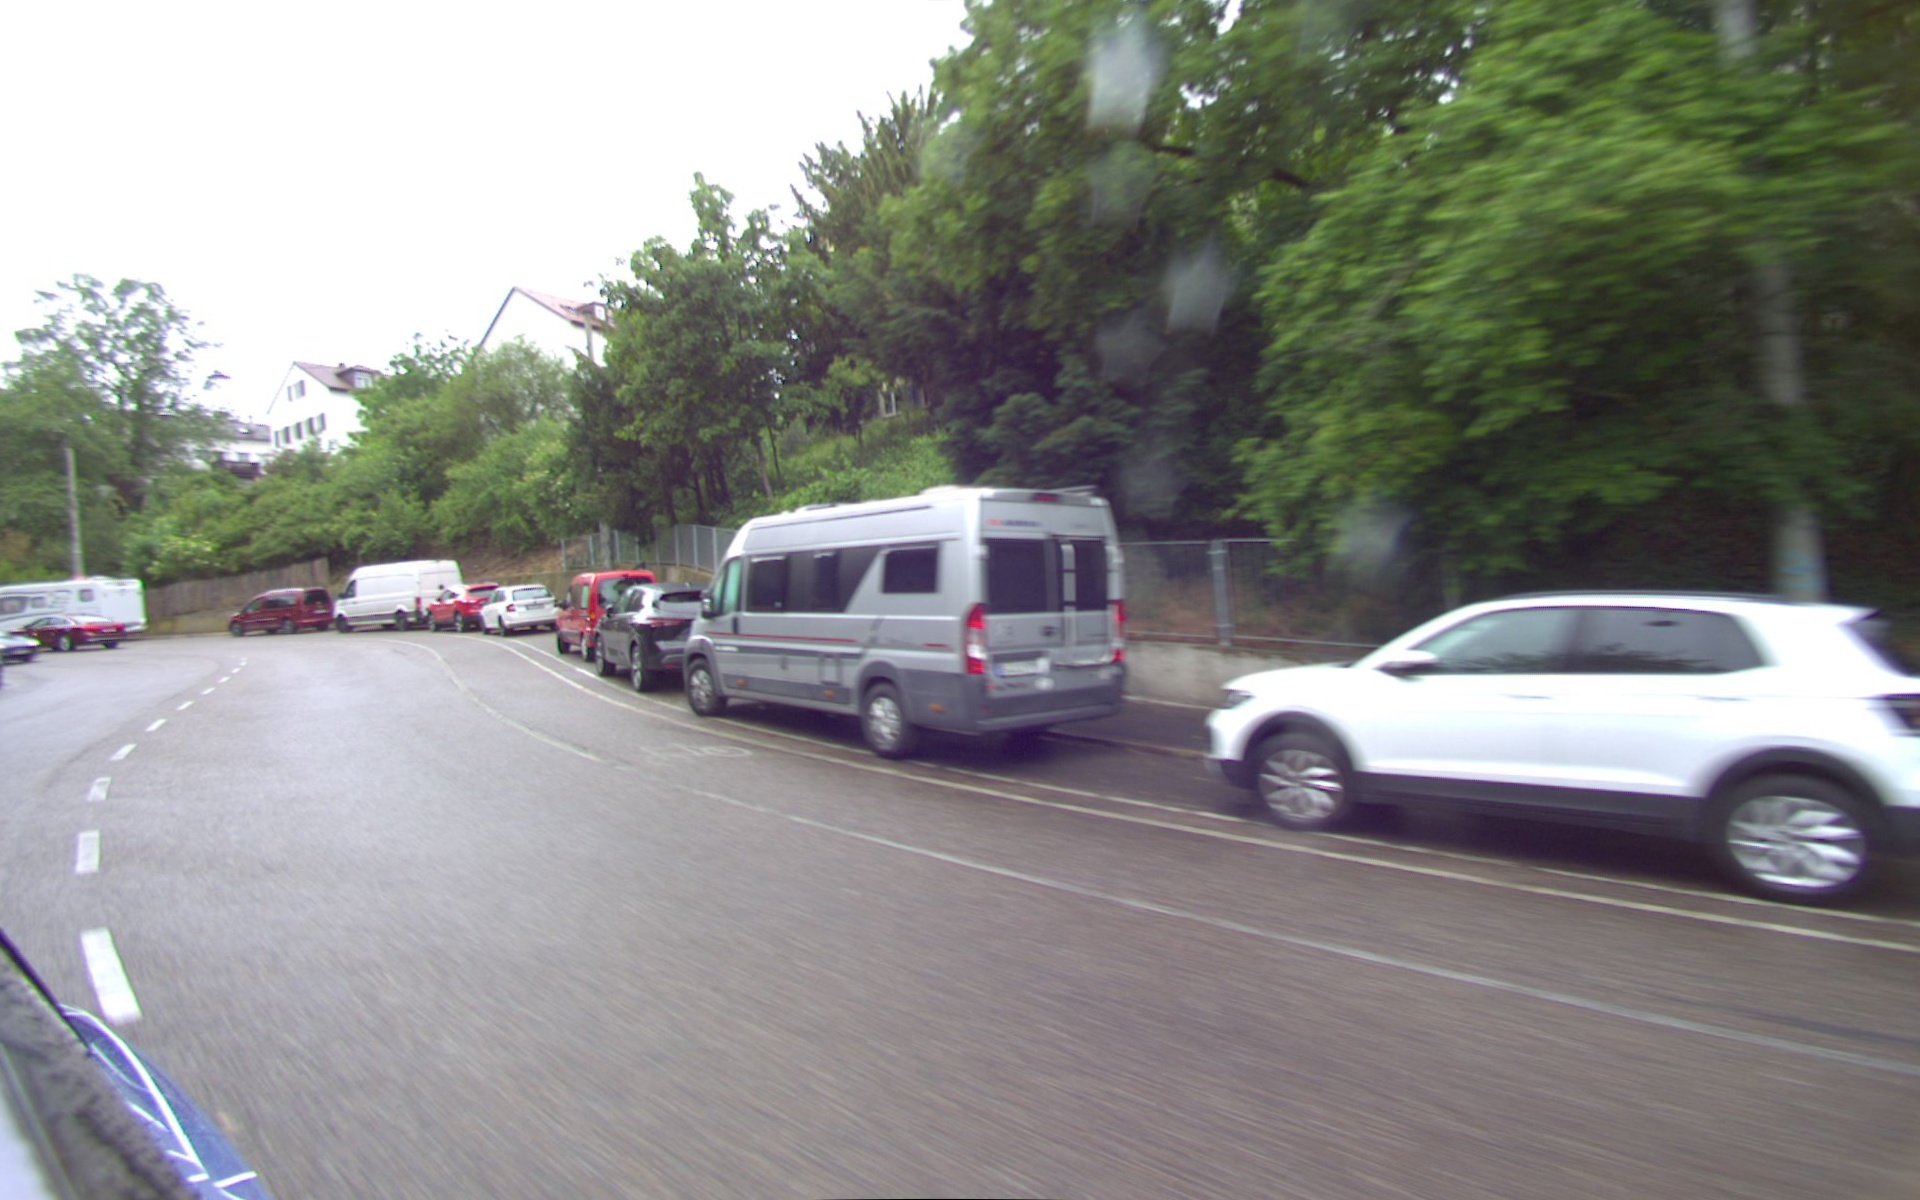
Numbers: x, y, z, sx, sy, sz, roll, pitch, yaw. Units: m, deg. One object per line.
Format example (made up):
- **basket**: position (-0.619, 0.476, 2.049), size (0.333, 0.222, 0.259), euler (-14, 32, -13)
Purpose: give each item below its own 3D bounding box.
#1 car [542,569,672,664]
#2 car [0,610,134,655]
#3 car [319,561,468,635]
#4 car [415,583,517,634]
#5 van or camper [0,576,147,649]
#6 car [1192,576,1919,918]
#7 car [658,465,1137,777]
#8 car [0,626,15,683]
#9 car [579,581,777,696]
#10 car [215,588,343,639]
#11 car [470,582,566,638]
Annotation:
- **car**: position (-7.741, 0.271, 21.946), size (1.726, 1.781, 4.149), euler (-4, 3, -32)
- **car**: position (-35.696, 1.287, 40.361), size (4.439, 1.527, 1.866), euler (-2, 3, 14)
- **car**: position (-22.430, -0.043, 39.945), size (6.802, 2.549, 2.019), euler (-2, 3, 33)
- **car**: position (-17.505, 0.317, 35.737), size (4.434, 1.597, 1.756), euler (-1, 3, 44)
- **van or camper**: position (-41.483, 0.586, 45.708), size (7.421, 2.989, 2.459), euler (-2, 2, 0)
- **car**: position (3.727, 0.684, 6.484), size (4.020, 1.595, 1.786), euler (0, 0, 39)
- **car**: position (-1.123, 0.094, 11.441), size (2.048, 2.568, 6.358), euler (-2, 2, -40)
- **car**: position (-28.364, 1.695, 28.086), size (4.860, 1.498, 1.887), euler (-4, 3, 33)
- **car**: position (-4.853, 0.511, 16.952), size (1.966, 1.631, 4.410), euler (-1, 1, -33)
- **car**: position (-29.625, 0.593, 44.044), size (4.780, 1.889, 1.990), euler (-3, 3, 17)
- **car**: position (-13.837, 0.311, 31.561), size (1.716, 1.489, 4.207), euler (-7, 4, -37)
